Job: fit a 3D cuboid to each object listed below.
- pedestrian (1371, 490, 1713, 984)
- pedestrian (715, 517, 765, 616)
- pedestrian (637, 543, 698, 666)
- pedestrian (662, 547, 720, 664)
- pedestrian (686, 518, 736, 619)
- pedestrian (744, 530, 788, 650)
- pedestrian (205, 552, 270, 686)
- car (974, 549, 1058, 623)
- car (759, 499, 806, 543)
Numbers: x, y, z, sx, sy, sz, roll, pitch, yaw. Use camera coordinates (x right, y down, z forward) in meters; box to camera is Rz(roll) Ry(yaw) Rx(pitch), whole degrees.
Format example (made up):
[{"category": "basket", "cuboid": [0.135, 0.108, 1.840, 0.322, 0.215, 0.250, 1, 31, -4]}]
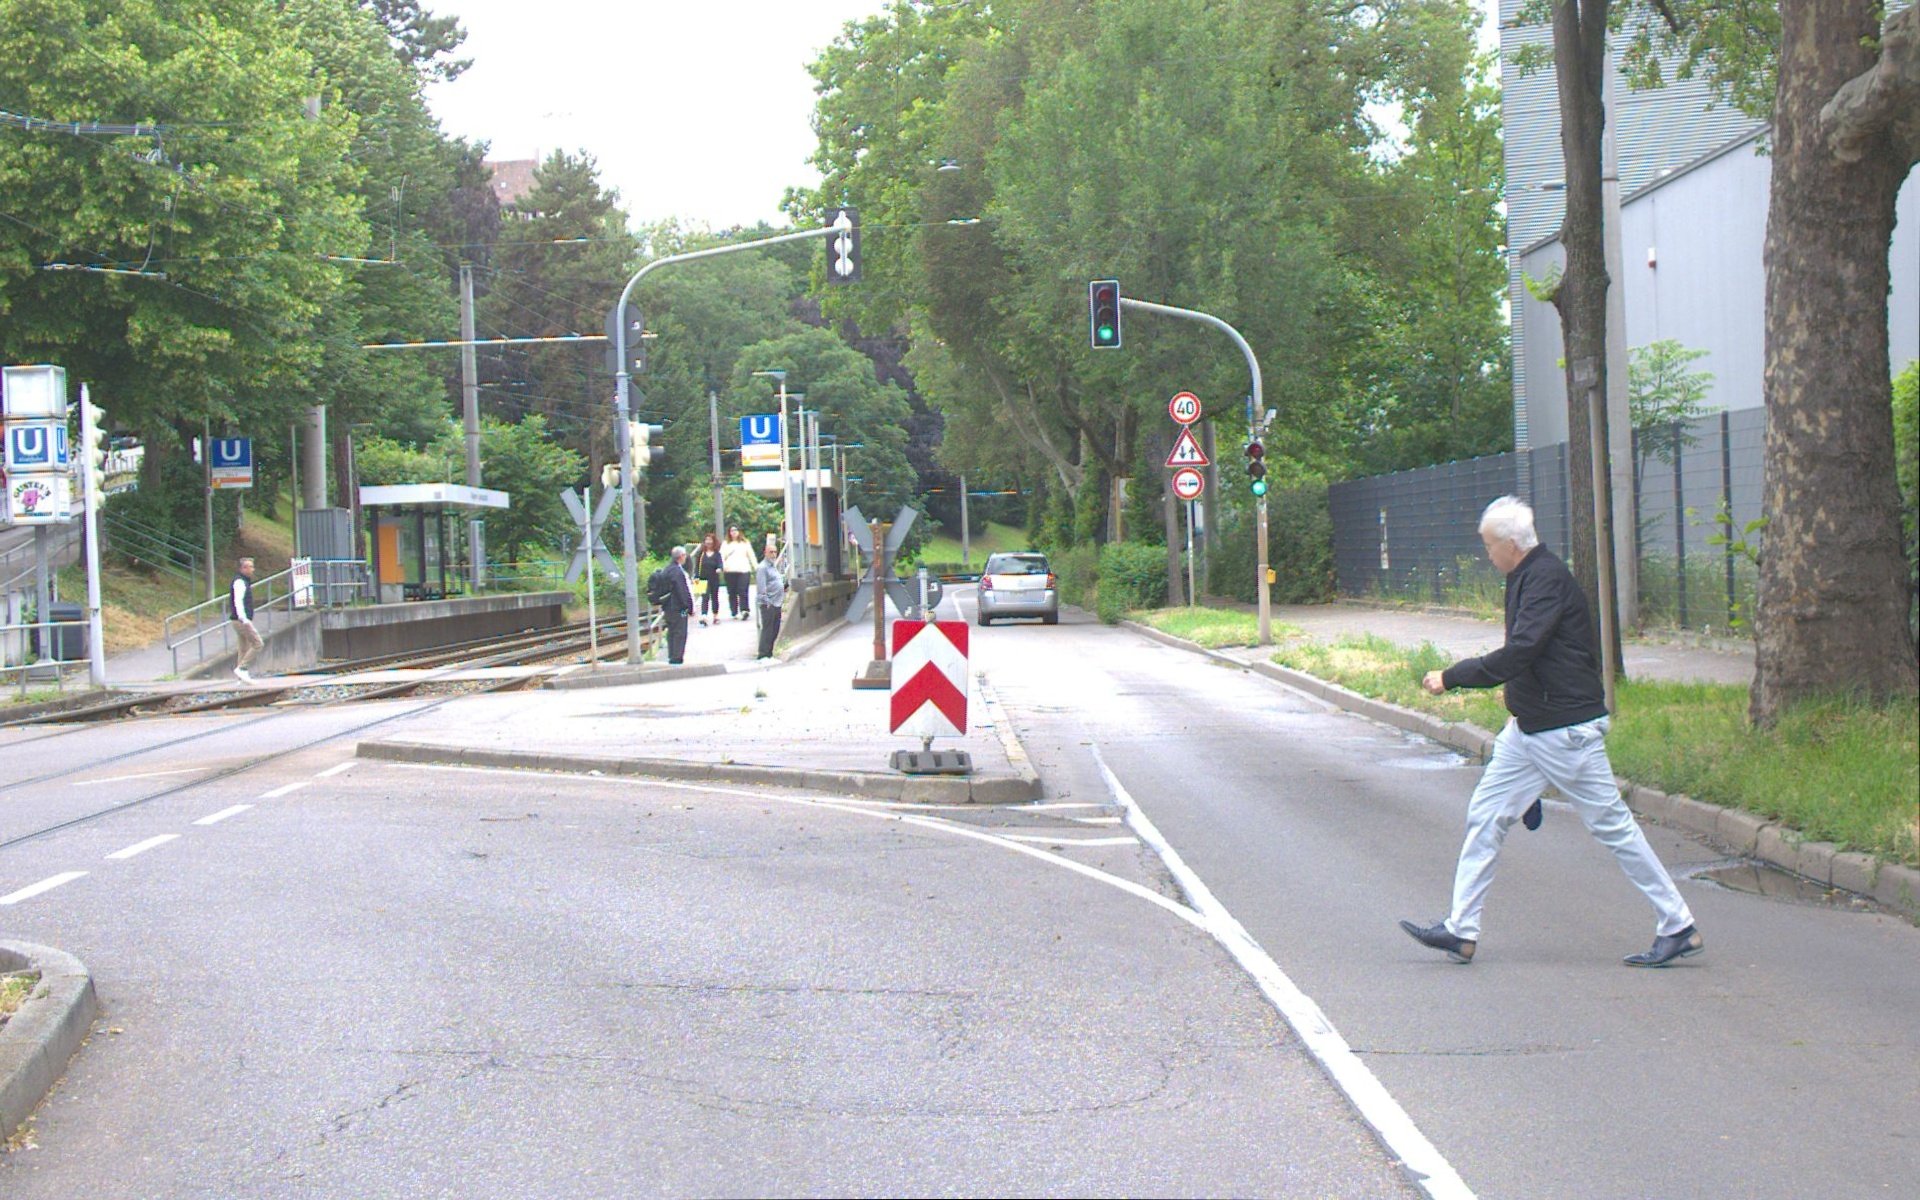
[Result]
[{"category": "pedestrian", "cuboid": [2.126, 0.485, 12.683, 1.117, 1.754, 0.813, 1, 0, 1]}, {"category": "pedestrian", "cuboid": [-3.729, -0.564, 58.201, 0.735, 1.659, 0.682, 1, 0, -11]}, {"category": "pedestrian", "cuboid": [-3.995, 0.063, 46.984, 0.735, 1.659, 0.682, 1, 0, 1]}, {"category": "pedestrian", "cuboid": [-3.882, 0.076, 49.632, 0.679, 1.659, 0.737, 1, 0, 6]}, {"category": "pedestrian", "cuboid": [-4.147, -0.518, 57.173, 0.735, 1.659, 0.682, 1, 0, -11]}, {"category": "pedestrian", "cuboid": [-2.864, -0.156, 50.789, 0.550, 1.752, 0.737, 1, 0, 4]}, {"category": "pedestrian", "cuboid": [-9.953, 0.255, 47.363, 0.802, 1.815, 0.670, 1, 0, -7]}, {"category": "car", "cuboid": [1.227, -0.314, 76.946, 1.743, 1.593, 4.000, 1, 0, -1]}, {"category": "car", "cuboid": [-8.365, -3.707, 162.223, 1.993, 2.007, 4.000, 1, 1, -1]}]
